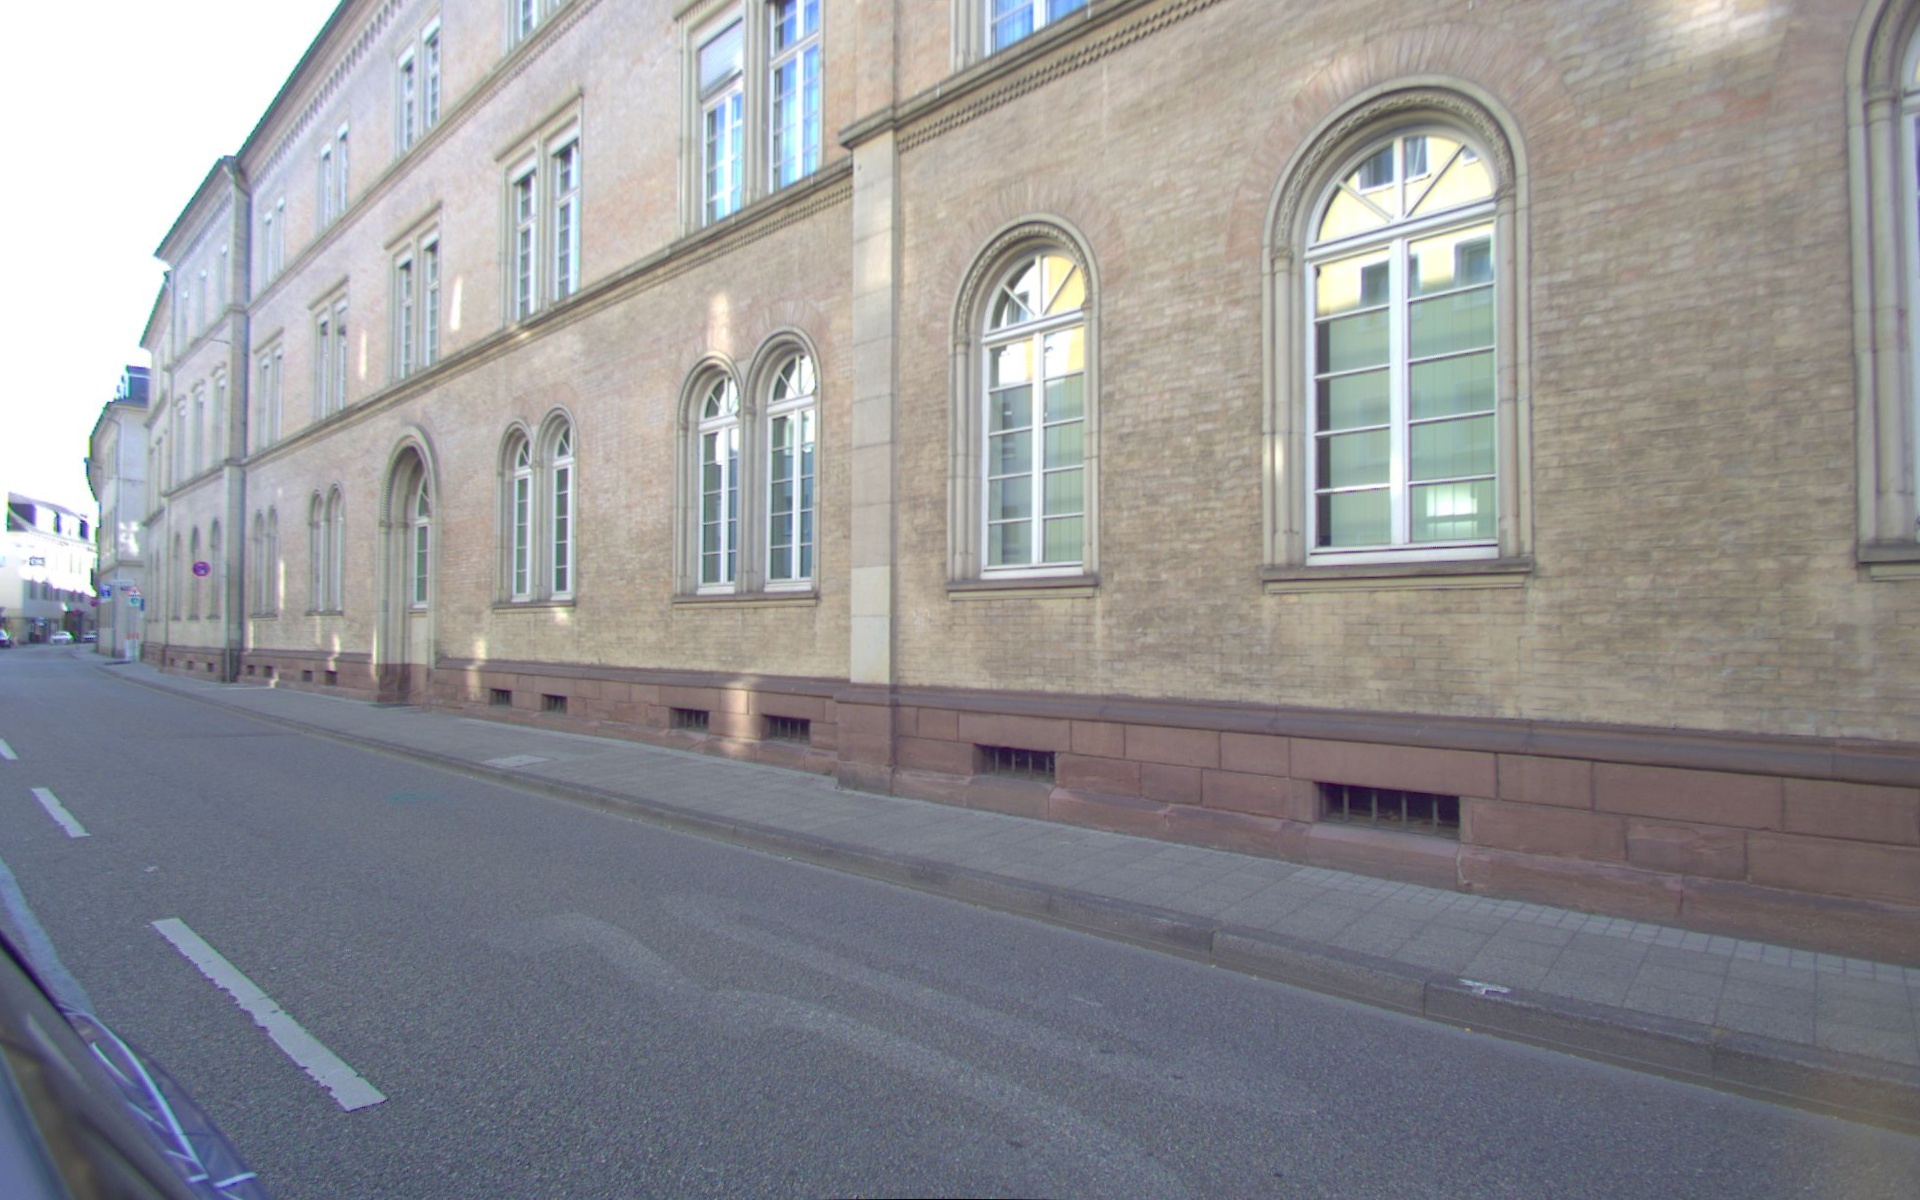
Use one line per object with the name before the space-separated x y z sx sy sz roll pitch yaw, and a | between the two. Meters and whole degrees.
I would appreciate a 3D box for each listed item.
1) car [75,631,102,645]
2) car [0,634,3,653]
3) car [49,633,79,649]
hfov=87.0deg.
car | -109.215 4.765 126.846 1.966 1.665 4.240 -1 0 -33
car | -86.603 3.897 89.966 1.969 1.665 4.235 -1 0 -41
car | -102.842 4.687 116.193 1.966 1.665 4.240 -1 0 -33
